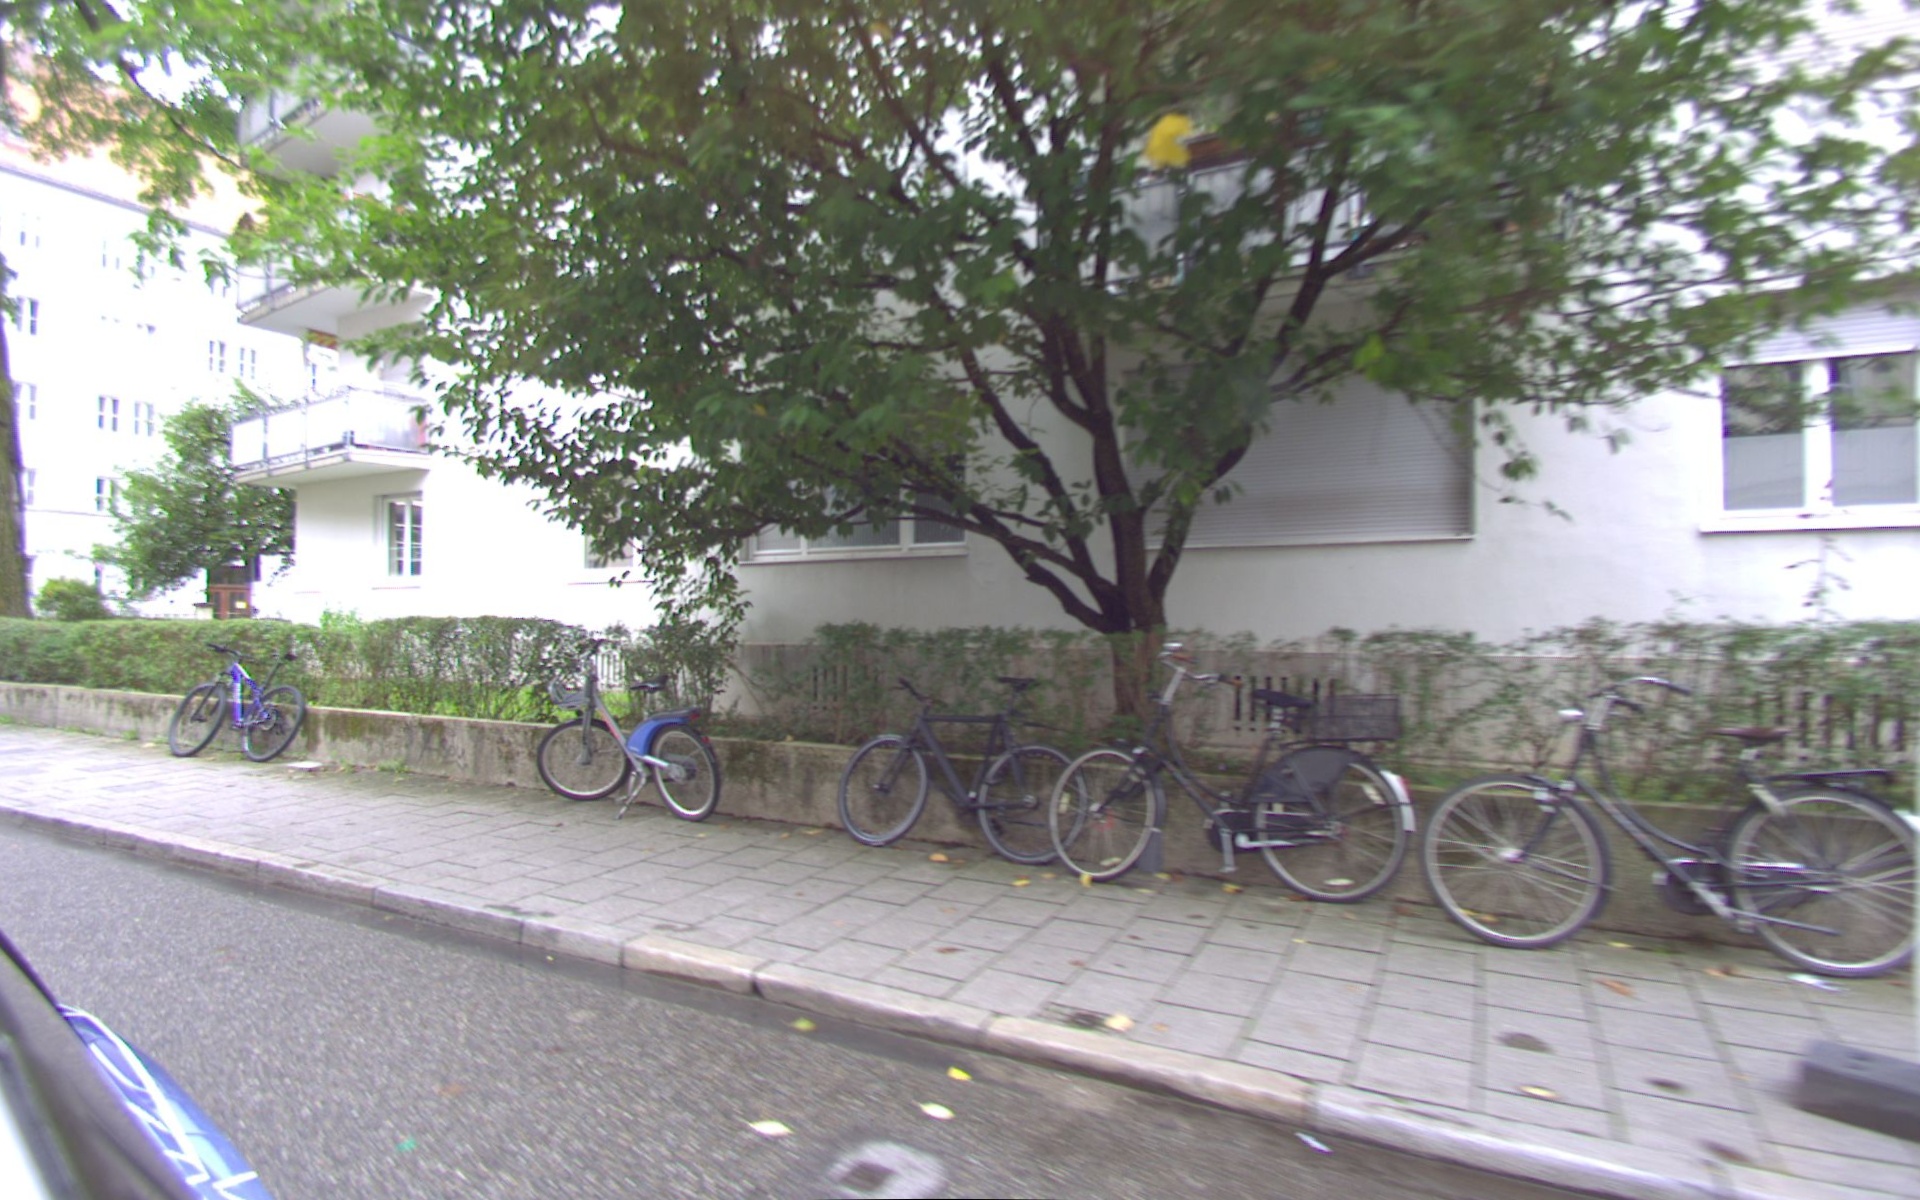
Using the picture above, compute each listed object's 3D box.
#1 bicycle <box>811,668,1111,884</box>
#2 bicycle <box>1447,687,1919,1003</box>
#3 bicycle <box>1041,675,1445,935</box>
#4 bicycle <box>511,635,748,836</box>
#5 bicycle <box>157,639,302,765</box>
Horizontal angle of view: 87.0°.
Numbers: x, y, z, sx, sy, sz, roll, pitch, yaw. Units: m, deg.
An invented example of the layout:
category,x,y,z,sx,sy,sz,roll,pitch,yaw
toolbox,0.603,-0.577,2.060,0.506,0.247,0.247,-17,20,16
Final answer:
category,x,y,z,sx,sy,sz,roll,pitch,yaw
bicycle,-0.027,0.927,5.688,1.692,0.986,0.433,0,2,30
bicycle,2.941,0.903,4.003,1.808,0.986,0.440,0,2,30
bicycle,1.326,0.914,4.921,1.846,0.986,0.440,0,2,30
bicycle,-2.234,0.842,6.766,1.692,1.160,0.485,0,2,30
bicycle,-6.909,0.929,9.544,1.772,1.080,0.344,-1,2,29
